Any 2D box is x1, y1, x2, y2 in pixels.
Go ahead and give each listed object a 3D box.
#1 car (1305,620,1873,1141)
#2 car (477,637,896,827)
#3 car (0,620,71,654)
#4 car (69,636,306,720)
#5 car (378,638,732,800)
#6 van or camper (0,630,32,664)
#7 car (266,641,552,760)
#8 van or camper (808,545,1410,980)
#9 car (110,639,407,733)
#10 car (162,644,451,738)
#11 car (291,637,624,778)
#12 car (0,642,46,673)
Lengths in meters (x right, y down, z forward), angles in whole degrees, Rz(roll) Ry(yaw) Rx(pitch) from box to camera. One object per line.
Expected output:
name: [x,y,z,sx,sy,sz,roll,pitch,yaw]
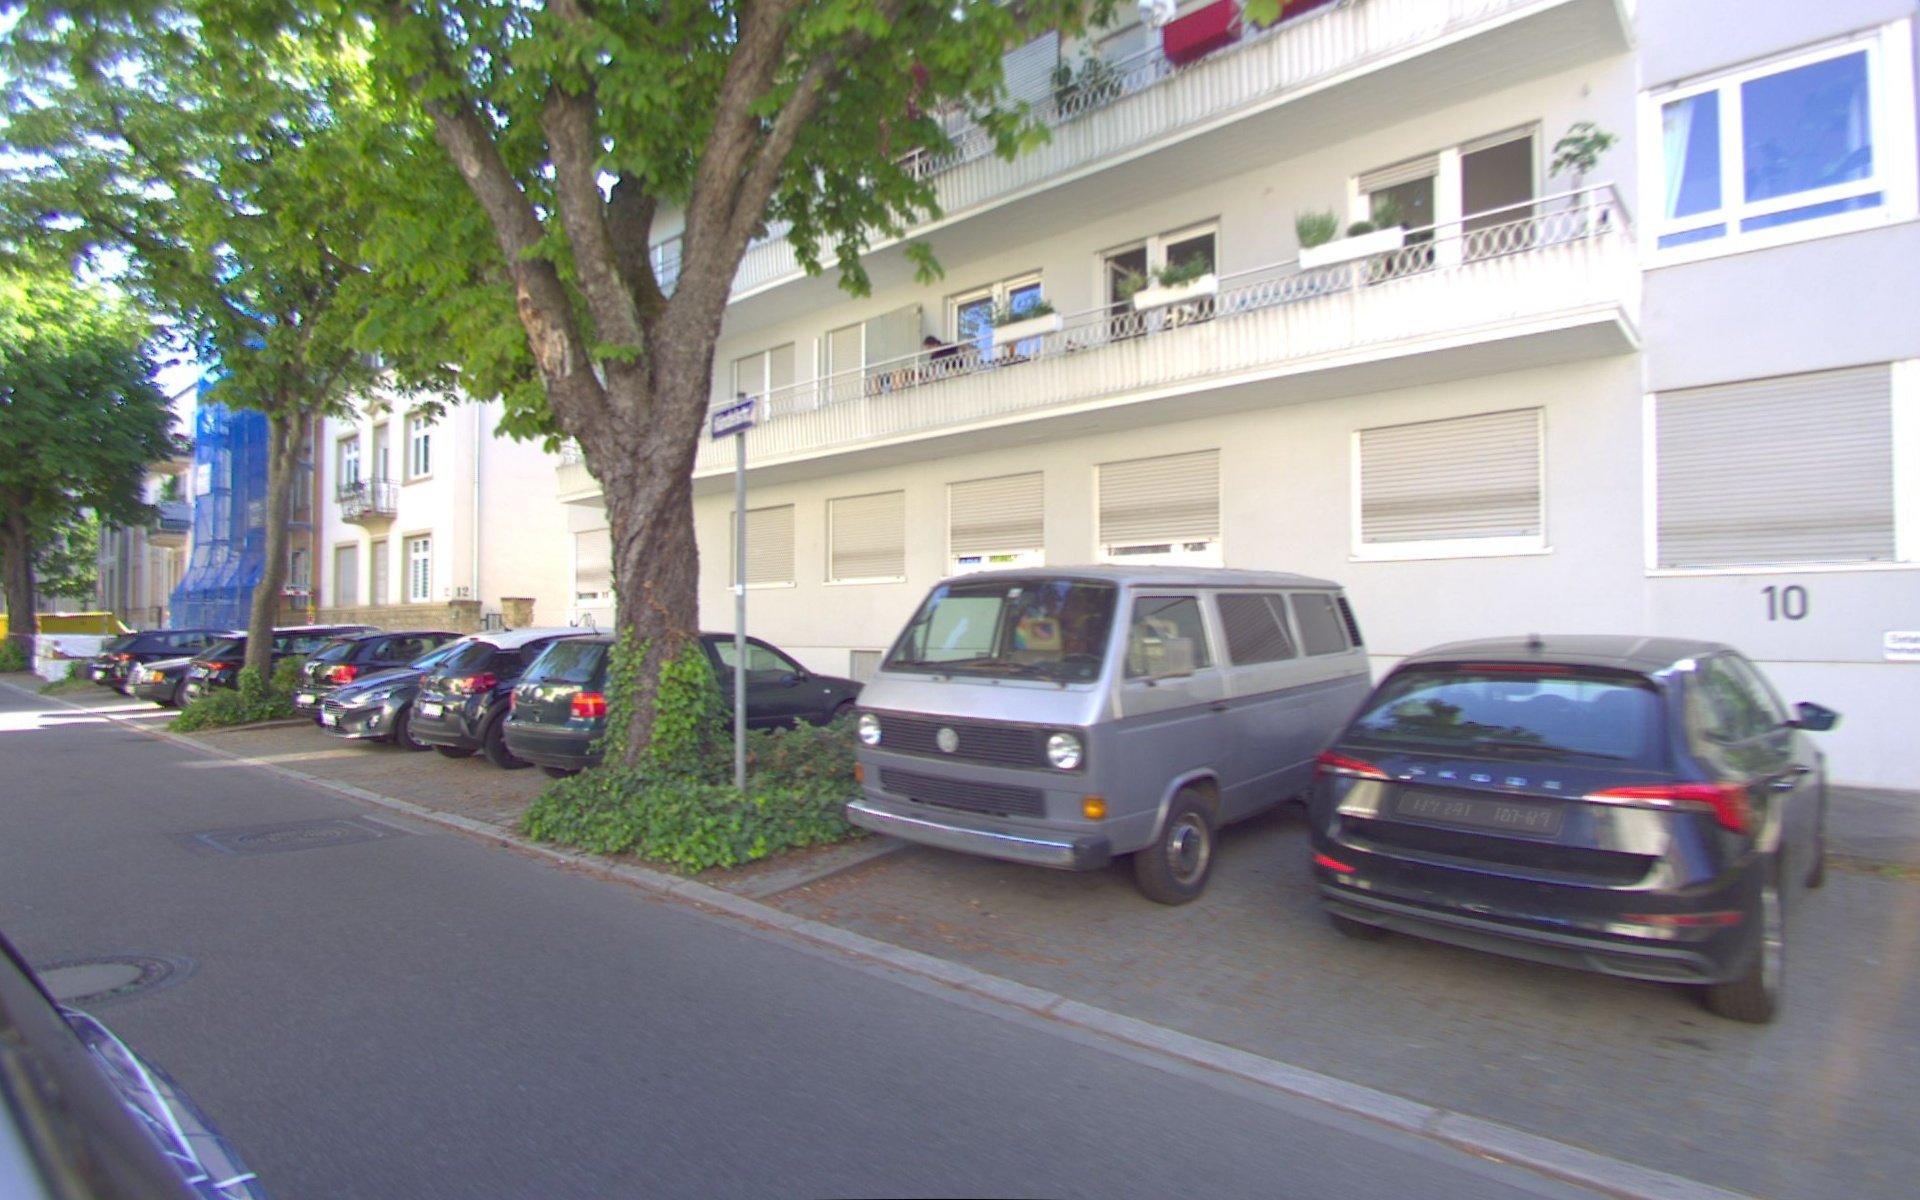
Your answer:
car: [3.407,0.915,5.103,1.662,1.510,3.902,-3,-2,43]
car: [-2.613,1.170,10.395,1.713,1.425,3.883,-3,-1,39]
car: [-41.689,1.637,44.522,1.714,1.476,3.686,-3,-5,42]
car: [-17.286,1.666,22.825,1.827,1.525,3.841,-1,0,32]
car: [-4.652,1.248,11.925,1.797,1.469,3.441,-1,-1,42]
van or camper: [-51.934,2.518,53.623,1.808,1.787,3.903,-3,-3,40]
car: [-8.292,1.421,15.457,1.707,1.431,3.447,-1,0,36]
van or camper: [1.311,0.784,6.854,1.963,1.929,4.450,-2,-2,41]
car: [-13.851,1.613,20.234,1.831,1.619,4.544,-2,-2,39]
car: [-11.876,1.578,18.623,1.711,1.452,4.145,-2,-2,40]
car: [-6.566,1.297,13.466,1.710,1.474,3.604,-2,-1,43]
car: [-45.498,2.725,47.176,1.709,1.411,4.097,-2,-2,41]
